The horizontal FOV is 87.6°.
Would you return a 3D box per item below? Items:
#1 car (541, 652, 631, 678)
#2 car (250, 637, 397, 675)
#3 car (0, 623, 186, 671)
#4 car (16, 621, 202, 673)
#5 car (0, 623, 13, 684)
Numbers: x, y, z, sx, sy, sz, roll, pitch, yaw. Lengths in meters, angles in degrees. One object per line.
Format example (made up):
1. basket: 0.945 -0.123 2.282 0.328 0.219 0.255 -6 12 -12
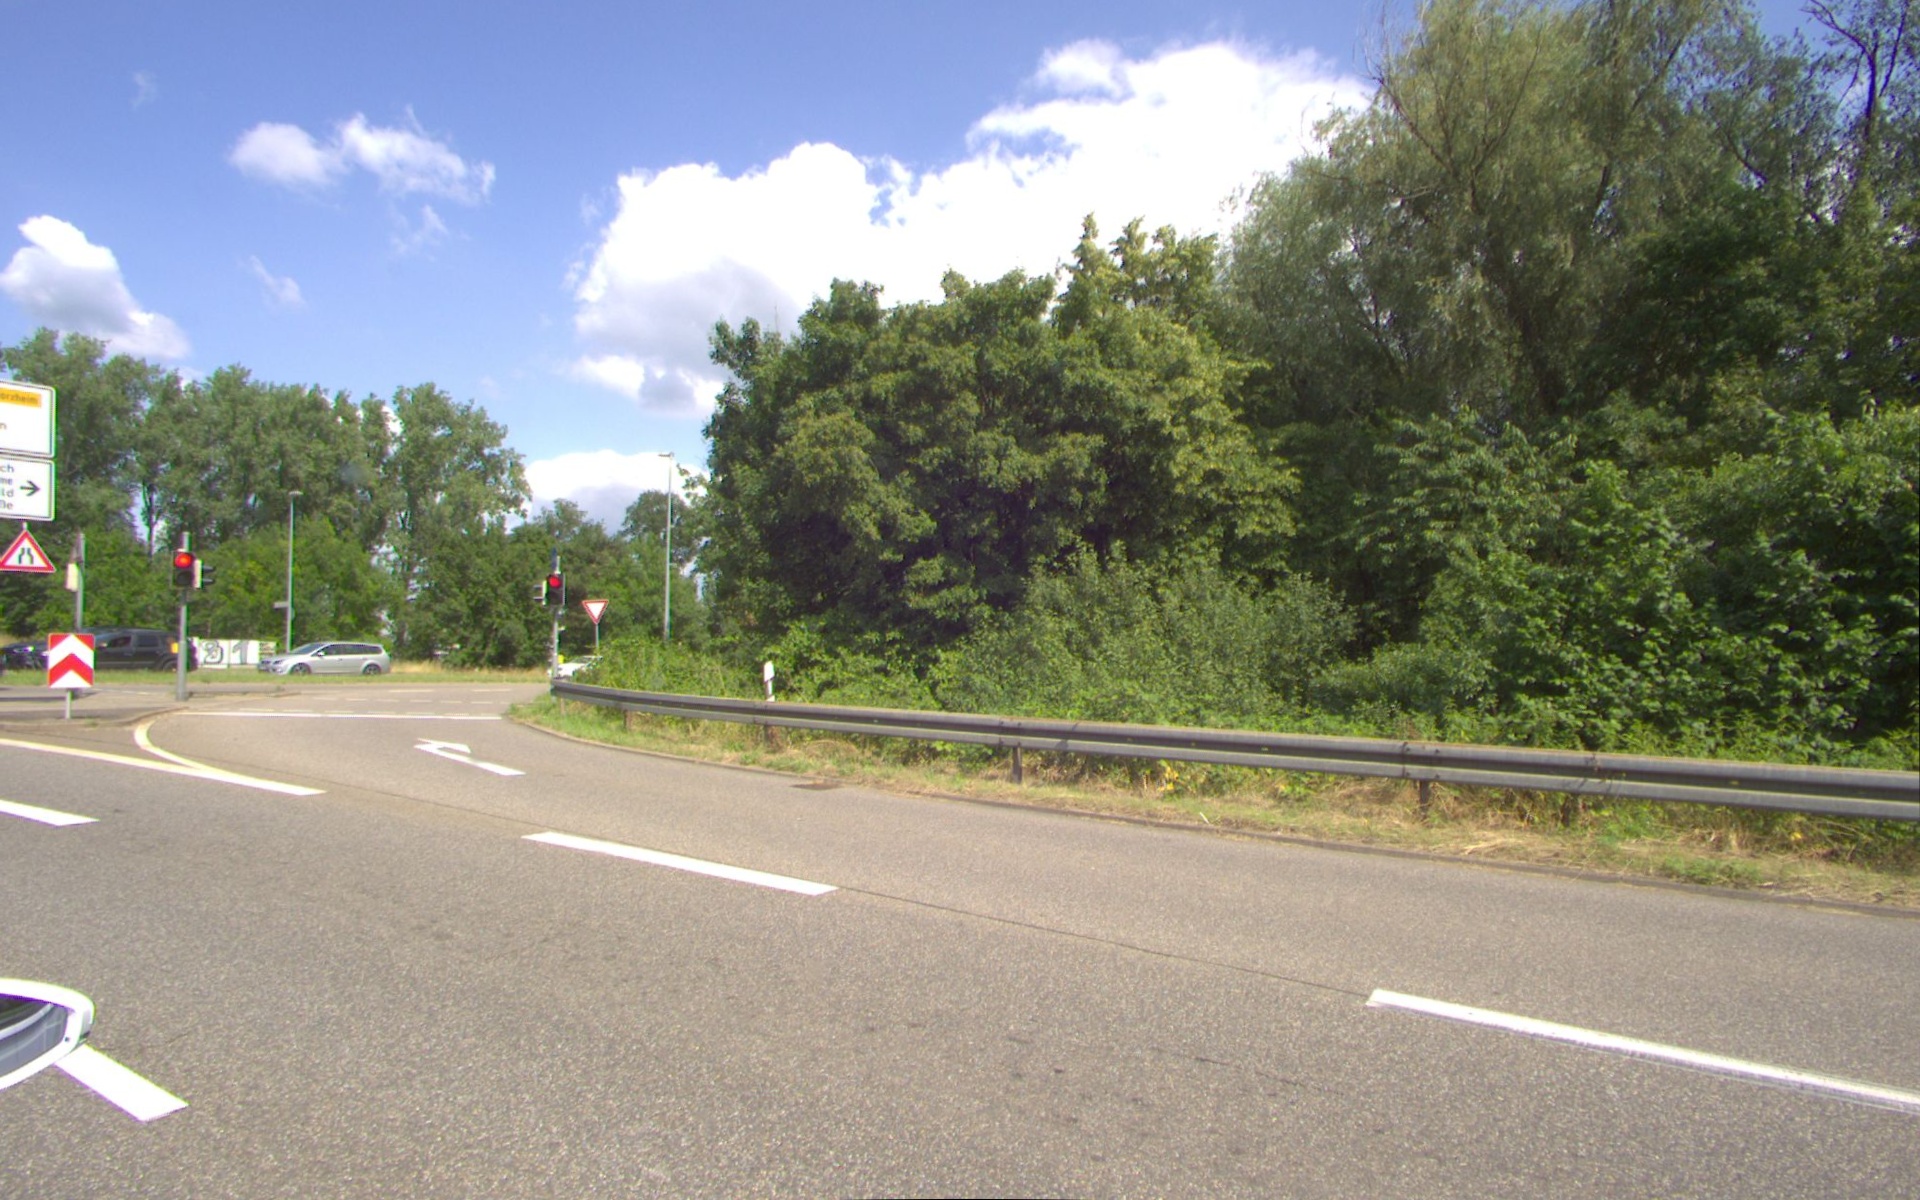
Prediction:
1. car: -20.054 3.461 53.842 1.710 1.297 4.491 0 -3 29
2. car: -24.201 2.120 38.281 1.710 1.337 4.471 0 -3 29
3. car: -30.428 1.657 35.160 1.711 1.564 4.842 0 -3 31
4. car: -27.563 1.528 32.581 1.711 1.564 4.264 0 -3 31
5. car: -24.311 1.177 22.650 1.929 1.436 3.945 -1 -3 37
